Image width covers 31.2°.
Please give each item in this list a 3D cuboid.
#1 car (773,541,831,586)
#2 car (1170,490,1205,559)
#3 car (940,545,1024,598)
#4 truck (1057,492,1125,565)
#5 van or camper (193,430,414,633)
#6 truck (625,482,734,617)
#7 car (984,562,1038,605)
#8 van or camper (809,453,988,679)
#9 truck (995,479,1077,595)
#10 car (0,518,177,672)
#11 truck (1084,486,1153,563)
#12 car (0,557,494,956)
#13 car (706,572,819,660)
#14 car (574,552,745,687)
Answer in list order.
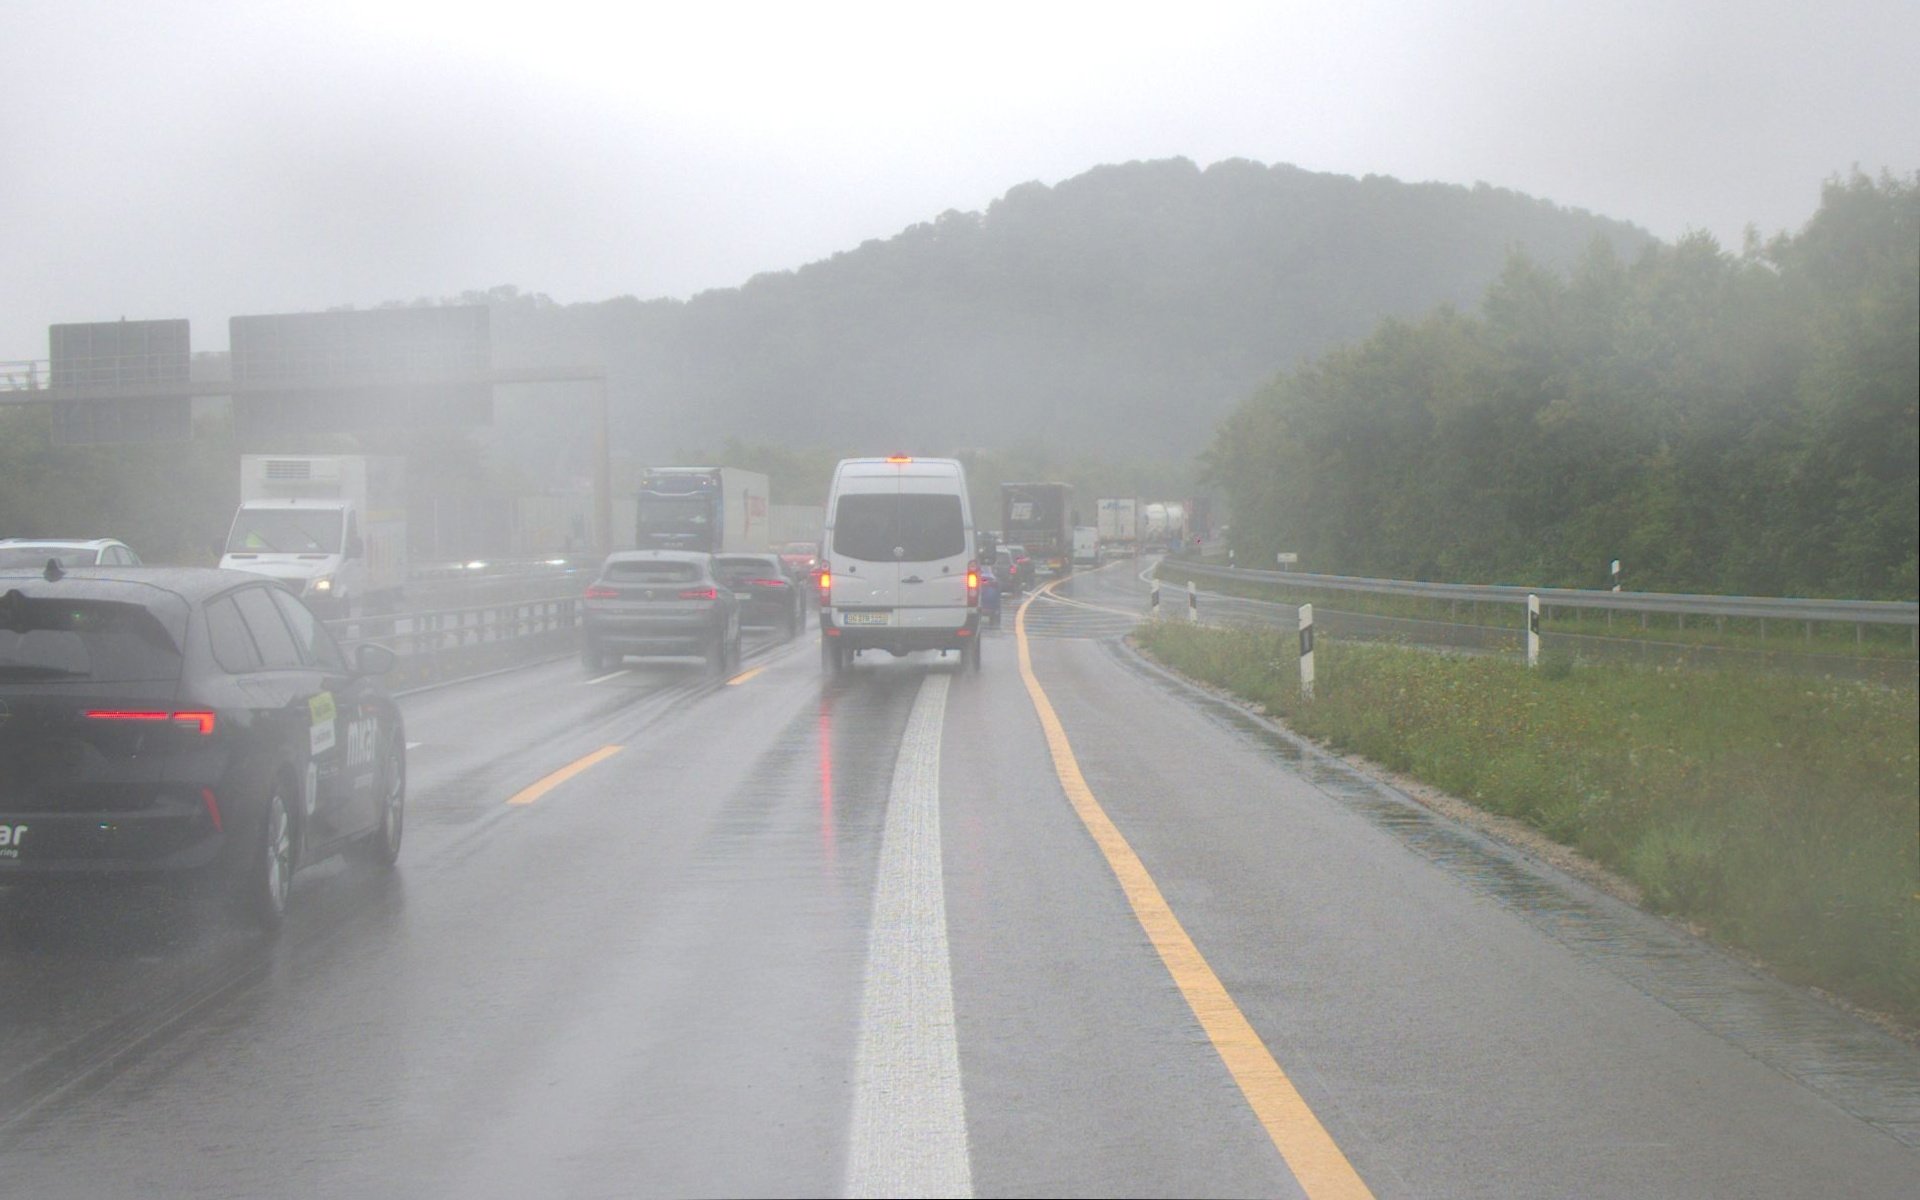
[{"bbox_3d":[-3.865,-0.902,84.385,1.262,1.074,3.254,0,1,0],"label":"car"},{"bbox_3d":[14.070,-4.651,212.664,2.058,4.177,6.745,0,1,3],"label":"car"},{"bbox_3d":[0.429,-0.588,70.549,1.384,1.074,3.123,0,1,-6],"label":"car"},{"bbox_3d":[7.047,-3.822,186.576,3.320,3.749,9.907,1,0,1],"label":"truck"},{"bbox_3d":[-10.470,-1.055,55.411,2.293,3.031,6.699,1,0,-1],"label":"van or camper"},{"bbox_3d":[-8.999,-1.606,110.993,2.889,4.217,6.326,0,0,1],"label":"truck"},{"bbox_3d":[1.497,-0.489,101.635,1.384,1.252,3.123,0,1,-3],"label":"car"},{"bbox_3d":[-0.738,-0.432,43.601,2.139,2.712,4.648,0,1,0],"label":"van or camper"},{"bbox_3d":[3.229,-2.637,148.229,3.320,4.768,9.907,1,0,1],"label":"truck"},{"bbox_3d":[-10.410,-0.075,39.868,1.636,1.662,4.544,1,0,-1],"label":"car"},{"bbox_3d":[10.411,-4.893,224.791,3.929,4.768,9.905,1,0,5],"label":"truck"},{"bbox_3d":[-3.235,0.538,14.766,1.938,1.422,4.760,1,1,-2],"label":"car"},{"bbox_3d":[-3.494,0.259,61.419,1.852,1.495,4.000,0,1,-1],"label":"car"},{"bbox_3d":[-3.820,0.220,44.309,1.867,1.653,3.988,0,1,0],"label":"car"}]
